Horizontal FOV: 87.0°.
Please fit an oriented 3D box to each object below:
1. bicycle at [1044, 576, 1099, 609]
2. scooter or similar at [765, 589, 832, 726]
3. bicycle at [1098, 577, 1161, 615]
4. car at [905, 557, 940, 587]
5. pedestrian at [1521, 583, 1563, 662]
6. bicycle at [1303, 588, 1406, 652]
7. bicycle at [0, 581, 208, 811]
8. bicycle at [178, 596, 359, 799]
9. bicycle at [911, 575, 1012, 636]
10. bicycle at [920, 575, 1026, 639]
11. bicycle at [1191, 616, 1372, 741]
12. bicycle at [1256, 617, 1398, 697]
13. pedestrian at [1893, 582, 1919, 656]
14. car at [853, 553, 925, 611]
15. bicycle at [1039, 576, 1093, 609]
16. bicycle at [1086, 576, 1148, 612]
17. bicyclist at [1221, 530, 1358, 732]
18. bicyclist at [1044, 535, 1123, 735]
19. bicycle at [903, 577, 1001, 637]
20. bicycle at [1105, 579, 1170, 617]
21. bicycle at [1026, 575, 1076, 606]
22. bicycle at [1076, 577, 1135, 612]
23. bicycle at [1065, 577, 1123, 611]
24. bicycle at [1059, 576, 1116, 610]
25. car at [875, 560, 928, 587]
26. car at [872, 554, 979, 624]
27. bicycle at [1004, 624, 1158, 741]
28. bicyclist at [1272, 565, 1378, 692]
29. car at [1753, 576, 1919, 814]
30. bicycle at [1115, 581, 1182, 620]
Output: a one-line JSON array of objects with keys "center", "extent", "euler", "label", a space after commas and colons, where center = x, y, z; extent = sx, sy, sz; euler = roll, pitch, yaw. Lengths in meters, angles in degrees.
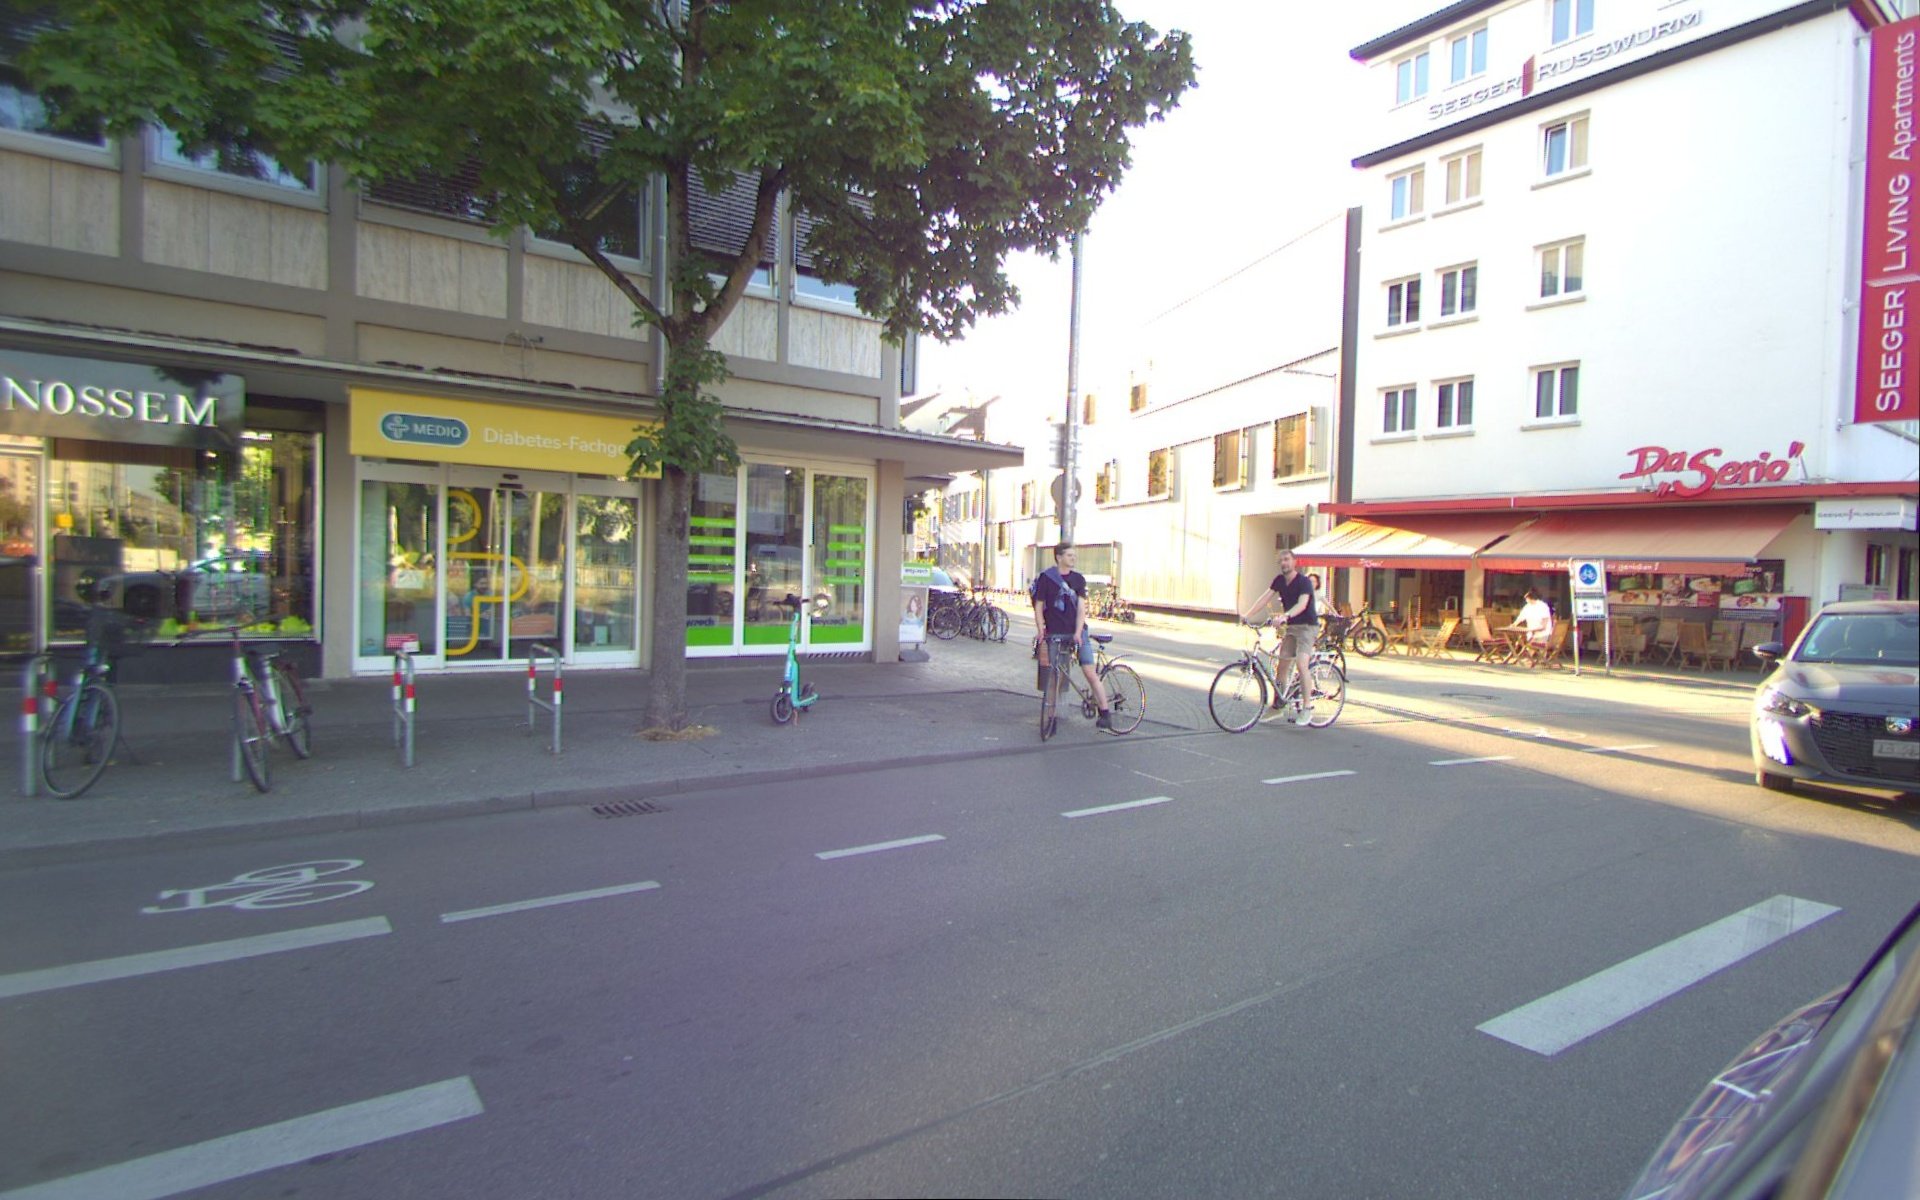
[{"center": [4.576, -0.314, 41.686], "extent": [2.068, 1.235, 0.706], "euler": [3, 1, -14], "label": "bicycle"}, {"center": [-1.604, 0.536, 10.175], "extent": [0.332, 1.250, 1.276], "euler": [2, 1, 5], "label": "scooter or similar"}, {"center": [6.082, -0.149, 36.416], "extent": [2.068, 1.235, 0.706], "euler": [3, 1, -14], "label": "bicycle"}, {"center": [-2.702, -1.976, 72.324], "extent": [1.959, 2.039, 4.265], "euler": [0, 1, -9], "label": "car"}, {"center": [11.768, 0.439, 20.464], "extent": [0.563, 1.560, 0.573], "euler": [0, 2, -44], "label": "pedestrian"}, {"center": [8.835, 0.419, 22.755], "extent": [0.690, 1.303, 2.114], "euler": [1, 2, -33], "label": "bicycle"}, {"center": [-5.598, 0.531, 6.663], "extent": [0.654, 1.251, 1.914], "euler": [1, 2, -25], "label": "bicycle"}, {"center": [-4.711, 0.578, 7.031], "extent": [0.654, 1.124, 2.007], "euler": [1, 2, -23], "label": "bicycle"}, {"center": [0.038, 0.130, 22.440], "extent": [2.068, 1.235, 0.706], "euler": [3, 1, -14], "label": "bicycle"}, {"center": [0.260, 0.140, 21.343], "extent": [2.068, 1.235, 0.706], "euler": [3, 1, -14], "label": "bicycle"}, {"center": [3.320, 0.740, 10.352], "extent": [2.042, 1.032, 0.839], "euler": [-2, 4, -42], "label": "bicycle"}, {"center": [4.903, 0.734, 13.685], "extent": [0.823, 0.892, 2.017], "euler": [1, 2, -13], "label": "bicycle"}, {"center": [23.233, 0.457, 24.562], "extent": [0.594, 1.782, 0.526], "euler": [2, 1, 9], "label": "pedestrian"}, {"center": [-2.515, -0.663, 34.872], "extent": [1.854, 1.771, 4.443], "euler": [3, 2, -11], "label": "car"}, {"center": [4.450, -0.317, 42.445], "extent": [2.068, 1.235, 0.706], "euler": [3, 1, -14], "label": "bicycle"}, {"center": [5.825, -0.223, 37.571], "extent": [2.068, 1.235, 0.706], "euler": [3, 1, -14], "label": "bicycle"}, {"center": [3.379, 0.283, 10.380], "extent": [1.095, 1.941, 0.839], "euler": [1, 2, -41], "label": "bicyclist"}, {"center": [1.190, 0.318, 9.742], "extent": [0.550, 1.853, 0.465], "euler": [1, 2, -45], "label": "bicyclist"}, {"center": [-0.190, 0.156, 23.522], "extent": [2.069, 1.235, 0.706], "euler": [4, 0, -14], "label": "bicycle"}, {"center": [6.233, -0.066, 35.609], "extent": [2.068, 1.235, 0.706], "euler": [3, 1, -14], "label": "bicycle"}, {"center": [4.032, -0.413, 44.833], "extent": [2.068, 1.235, 0.706], "euler": [3, 1, -21], "label": "bicycle"}, {"center": [5.540, -0.203, 38.599], "extent": [2.068, 1.235, 0.706], "euler": [3, 1, -14], "label": "bicycle"}, {"center": [5.221, -0.231, 39.475], "extent": [2.068, 1.235, 0.706], "euler": [3, 1, -14], "label": "bicycle"}, {"center": [5.105, -0.281, 40.471], "extent": [2.068, 1.235, 0.706], "euler": [3, 1, -14], "label": "bicycle"}, {"center": [-4.649, -2.087, 79.821], "extent": [3.917, 2.039, 2.004], "euler": [0, 0, -10], "label": "car"}, {"center": [-1.026, -0.365, 27.830], "extent": [1.854, 1.771, 4.010], "euler": [0, 2, -19], "label": "car"}, {"center": [1.206, 0.750, 9.793], "extent": [0.465, 0.982, 1.771], "euler": [3, 2, 45], "label": "bicycle"}, {"center": [4.916, 0.358, 13.707], "extent": [0.823, 1.643, 1.117], "euler": [1, 1, -13], "label": "bicyclist"}, {"center": [7.775, 0.627, 8.084], "extent": [4.263, 1.541, 1.729], "euler": [0, 1, -45], "label": "car"}, {"center": [6.470, 0.009, 34.756], "extent": [2.068, 1.235, 0.706], "euler": [3, 1, -14], "label": "bicycle"}]
